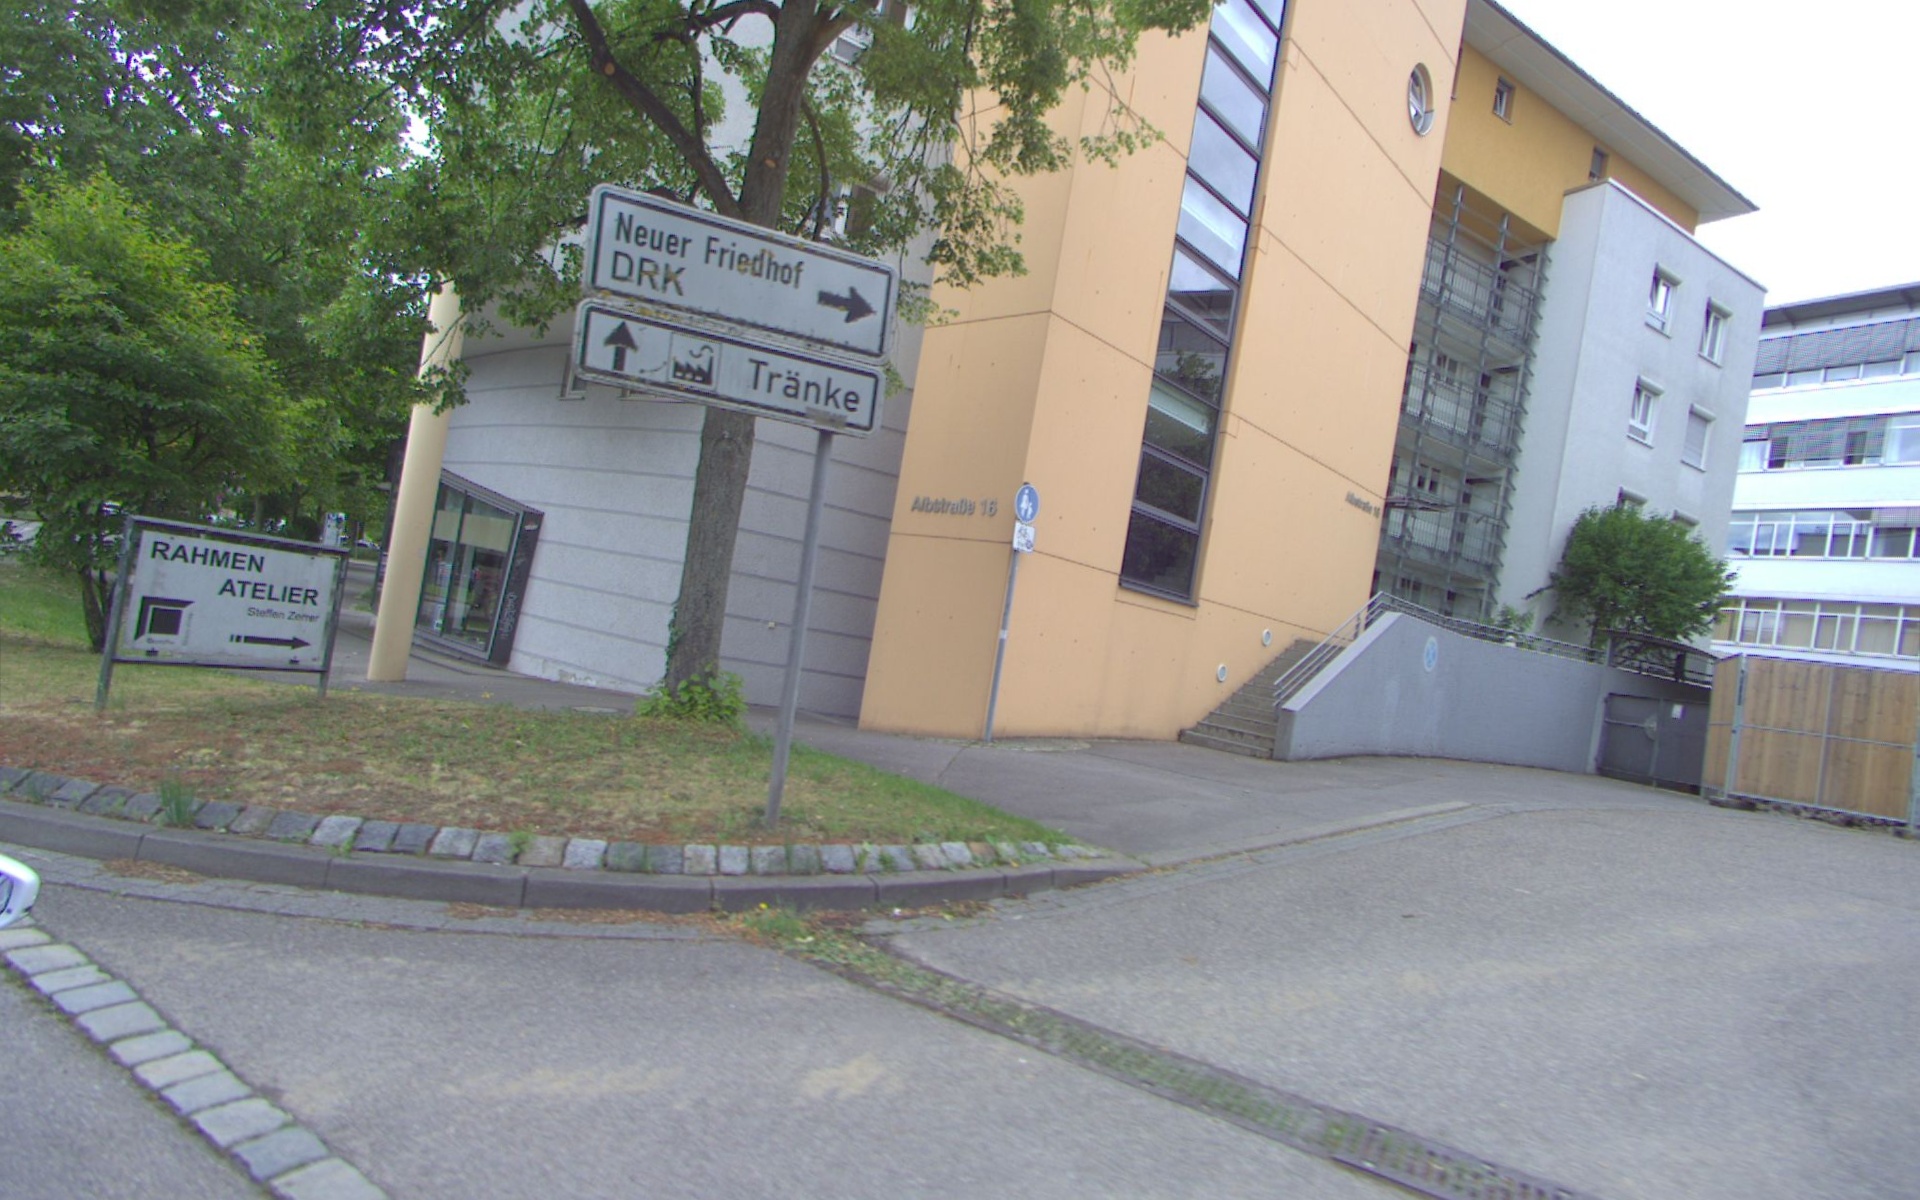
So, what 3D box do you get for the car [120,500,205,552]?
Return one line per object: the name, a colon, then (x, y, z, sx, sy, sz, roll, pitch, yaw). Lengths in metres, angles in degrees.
car: (-31.702, -2.907, 40.120, 1.864, 1.584, 3.988, 13, -4, -30)
